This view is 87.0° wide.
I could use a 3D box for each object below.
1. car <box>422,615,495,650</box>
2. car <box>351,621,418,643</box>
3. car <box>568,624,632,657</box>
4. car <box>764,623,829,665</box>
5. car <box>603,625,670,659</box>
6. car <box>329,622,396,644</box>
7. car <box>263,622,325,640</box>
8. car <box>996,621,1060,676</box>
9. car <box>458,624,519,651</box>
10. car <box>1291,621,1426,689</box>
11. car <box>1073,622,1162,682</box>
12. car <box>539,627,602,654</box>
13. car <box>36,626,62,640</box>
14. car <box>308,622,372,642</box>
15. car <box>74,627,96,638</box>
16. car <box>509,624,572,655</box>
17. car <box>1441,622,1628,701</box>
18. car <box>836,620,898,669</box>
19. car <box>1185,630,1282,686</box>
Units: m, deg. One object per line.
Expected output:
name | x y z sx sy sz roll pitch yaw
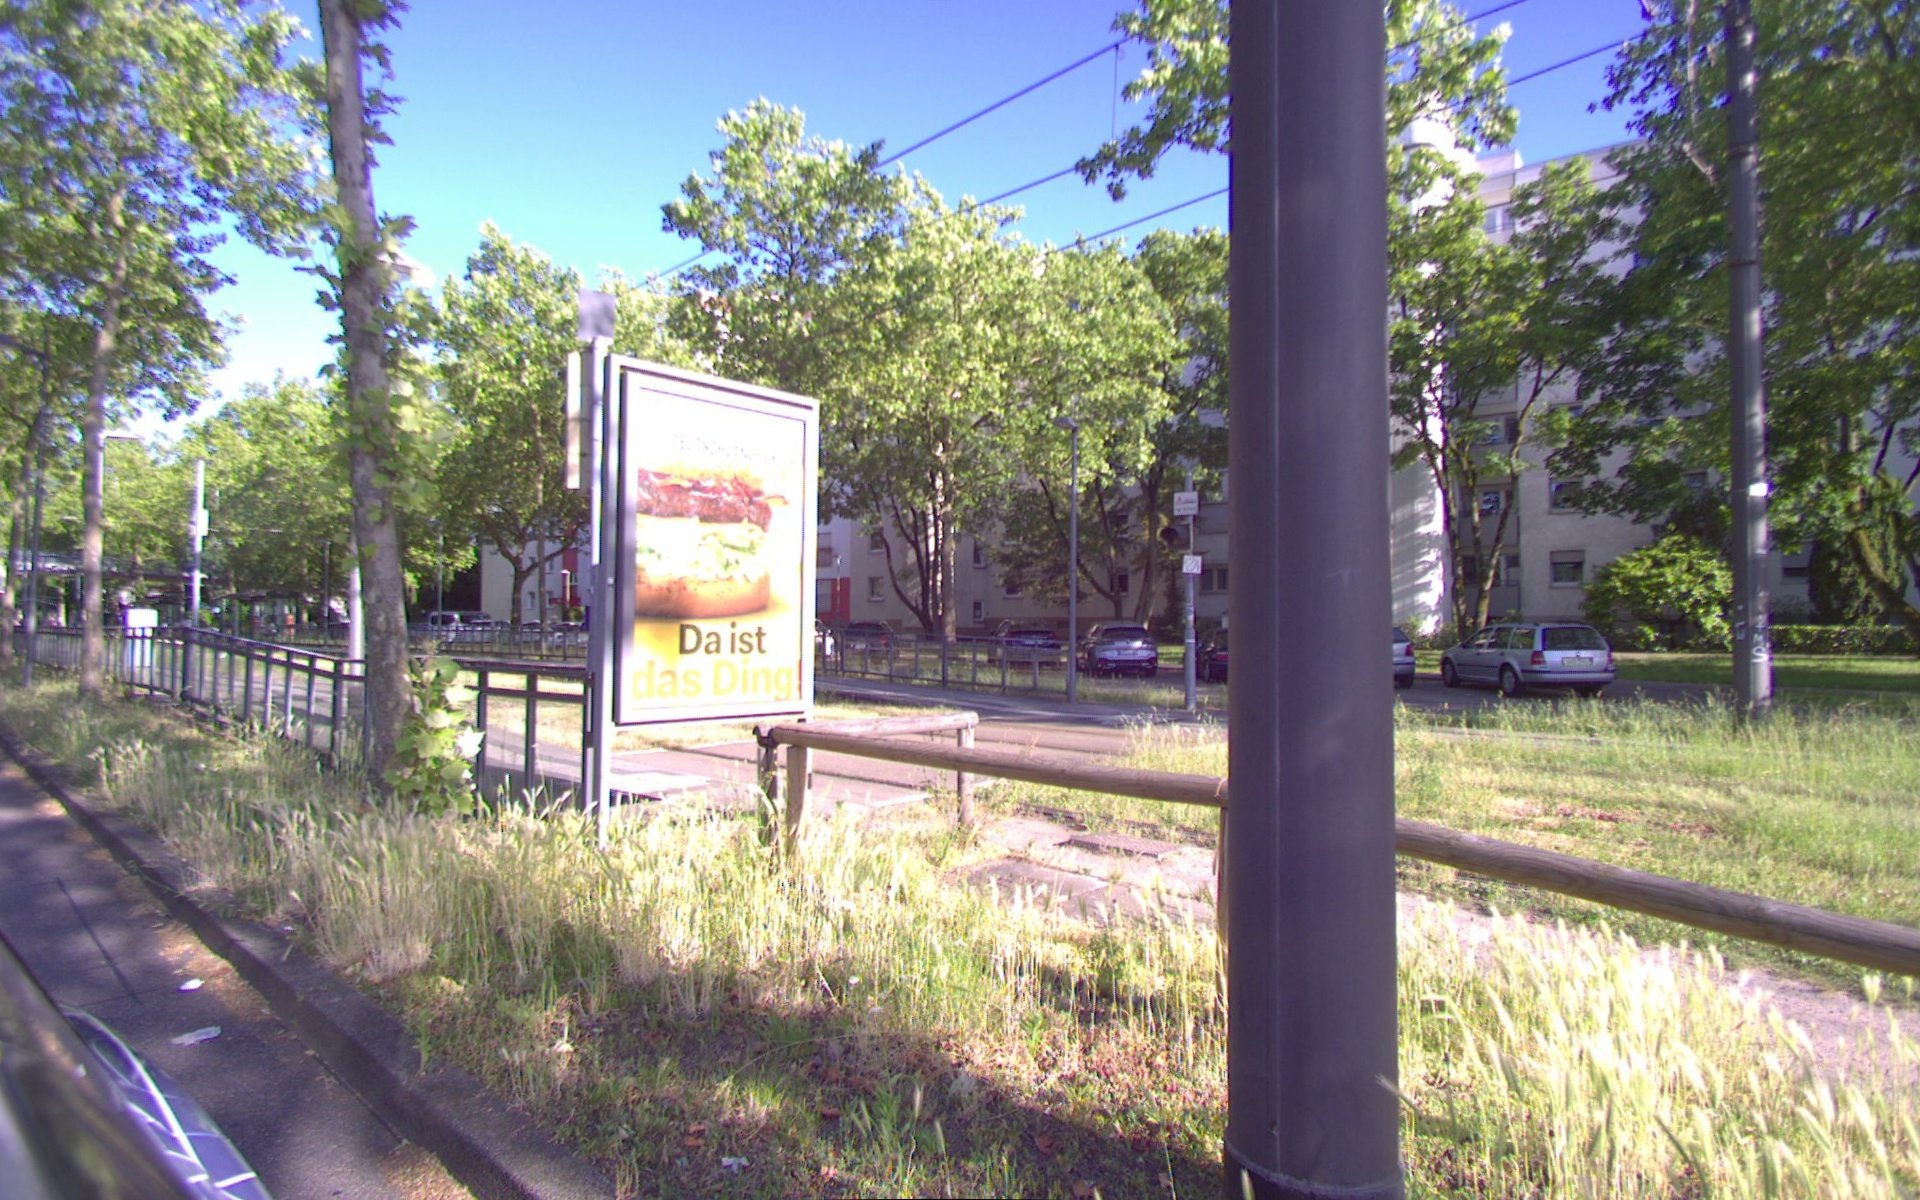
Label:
car | -28.337 1.826 57.327 1.898 1.898 4.365 0 -1 1
car | -37.813 2.097 66.650 1.898 1.386 4.365 0 -1 1
car | -16.692 1.843 47.136 1.627 1.460 3.680 0 -1 1
car | -5.918 1.572 36.918 1.664 1.444 3.679 0 -1 2
car | -14.092 1.820 44.280 1.627 1.403 3.679 0 -1 2
car | -40.293 2.204 68.390 1.898 1.386 4.365 0 -1 1
car | -52.157 2.404 79.363 1.898 1.386 4.365 0 -1 1
car | 1.925 1.368 29.447 1.664 1.482 3.680 0 -1 1
car | -25.808 2.035 55.518 1.627 1.407 3.680 0 -1 1
car | 9.144 1.220 23.528 1.679 1.444 3.681 0 -1 1
car | 4.198 1.347 27.493 1.894 1.507 3.680 0 -1 2
car | -19.056 1.981 49.666 1.627 1.251 3.680 0 -1 1
car | -109.455 3.951 121.548 4.366 1.586 1.898 -1 -2 42
car | -44.655 2.282 72.983 1.898 1.386 4.365 0 -1 1
car | -109.210 4.034 126.349 3.294 1.370 1.651 -1 -2 41
car | -21.133 1.959 51.134 1.627 1.460 3.680 0 -1 1
car | 11.539 1.177 20.629 1.707 1.444 3.681 0 -1 1
car | -3.116 1.459 34.468 1.664 1.579 3.679 0 -1 2
car | 6.721 1.401 25.208 1.602 1.256 3.677 0 -1 4
